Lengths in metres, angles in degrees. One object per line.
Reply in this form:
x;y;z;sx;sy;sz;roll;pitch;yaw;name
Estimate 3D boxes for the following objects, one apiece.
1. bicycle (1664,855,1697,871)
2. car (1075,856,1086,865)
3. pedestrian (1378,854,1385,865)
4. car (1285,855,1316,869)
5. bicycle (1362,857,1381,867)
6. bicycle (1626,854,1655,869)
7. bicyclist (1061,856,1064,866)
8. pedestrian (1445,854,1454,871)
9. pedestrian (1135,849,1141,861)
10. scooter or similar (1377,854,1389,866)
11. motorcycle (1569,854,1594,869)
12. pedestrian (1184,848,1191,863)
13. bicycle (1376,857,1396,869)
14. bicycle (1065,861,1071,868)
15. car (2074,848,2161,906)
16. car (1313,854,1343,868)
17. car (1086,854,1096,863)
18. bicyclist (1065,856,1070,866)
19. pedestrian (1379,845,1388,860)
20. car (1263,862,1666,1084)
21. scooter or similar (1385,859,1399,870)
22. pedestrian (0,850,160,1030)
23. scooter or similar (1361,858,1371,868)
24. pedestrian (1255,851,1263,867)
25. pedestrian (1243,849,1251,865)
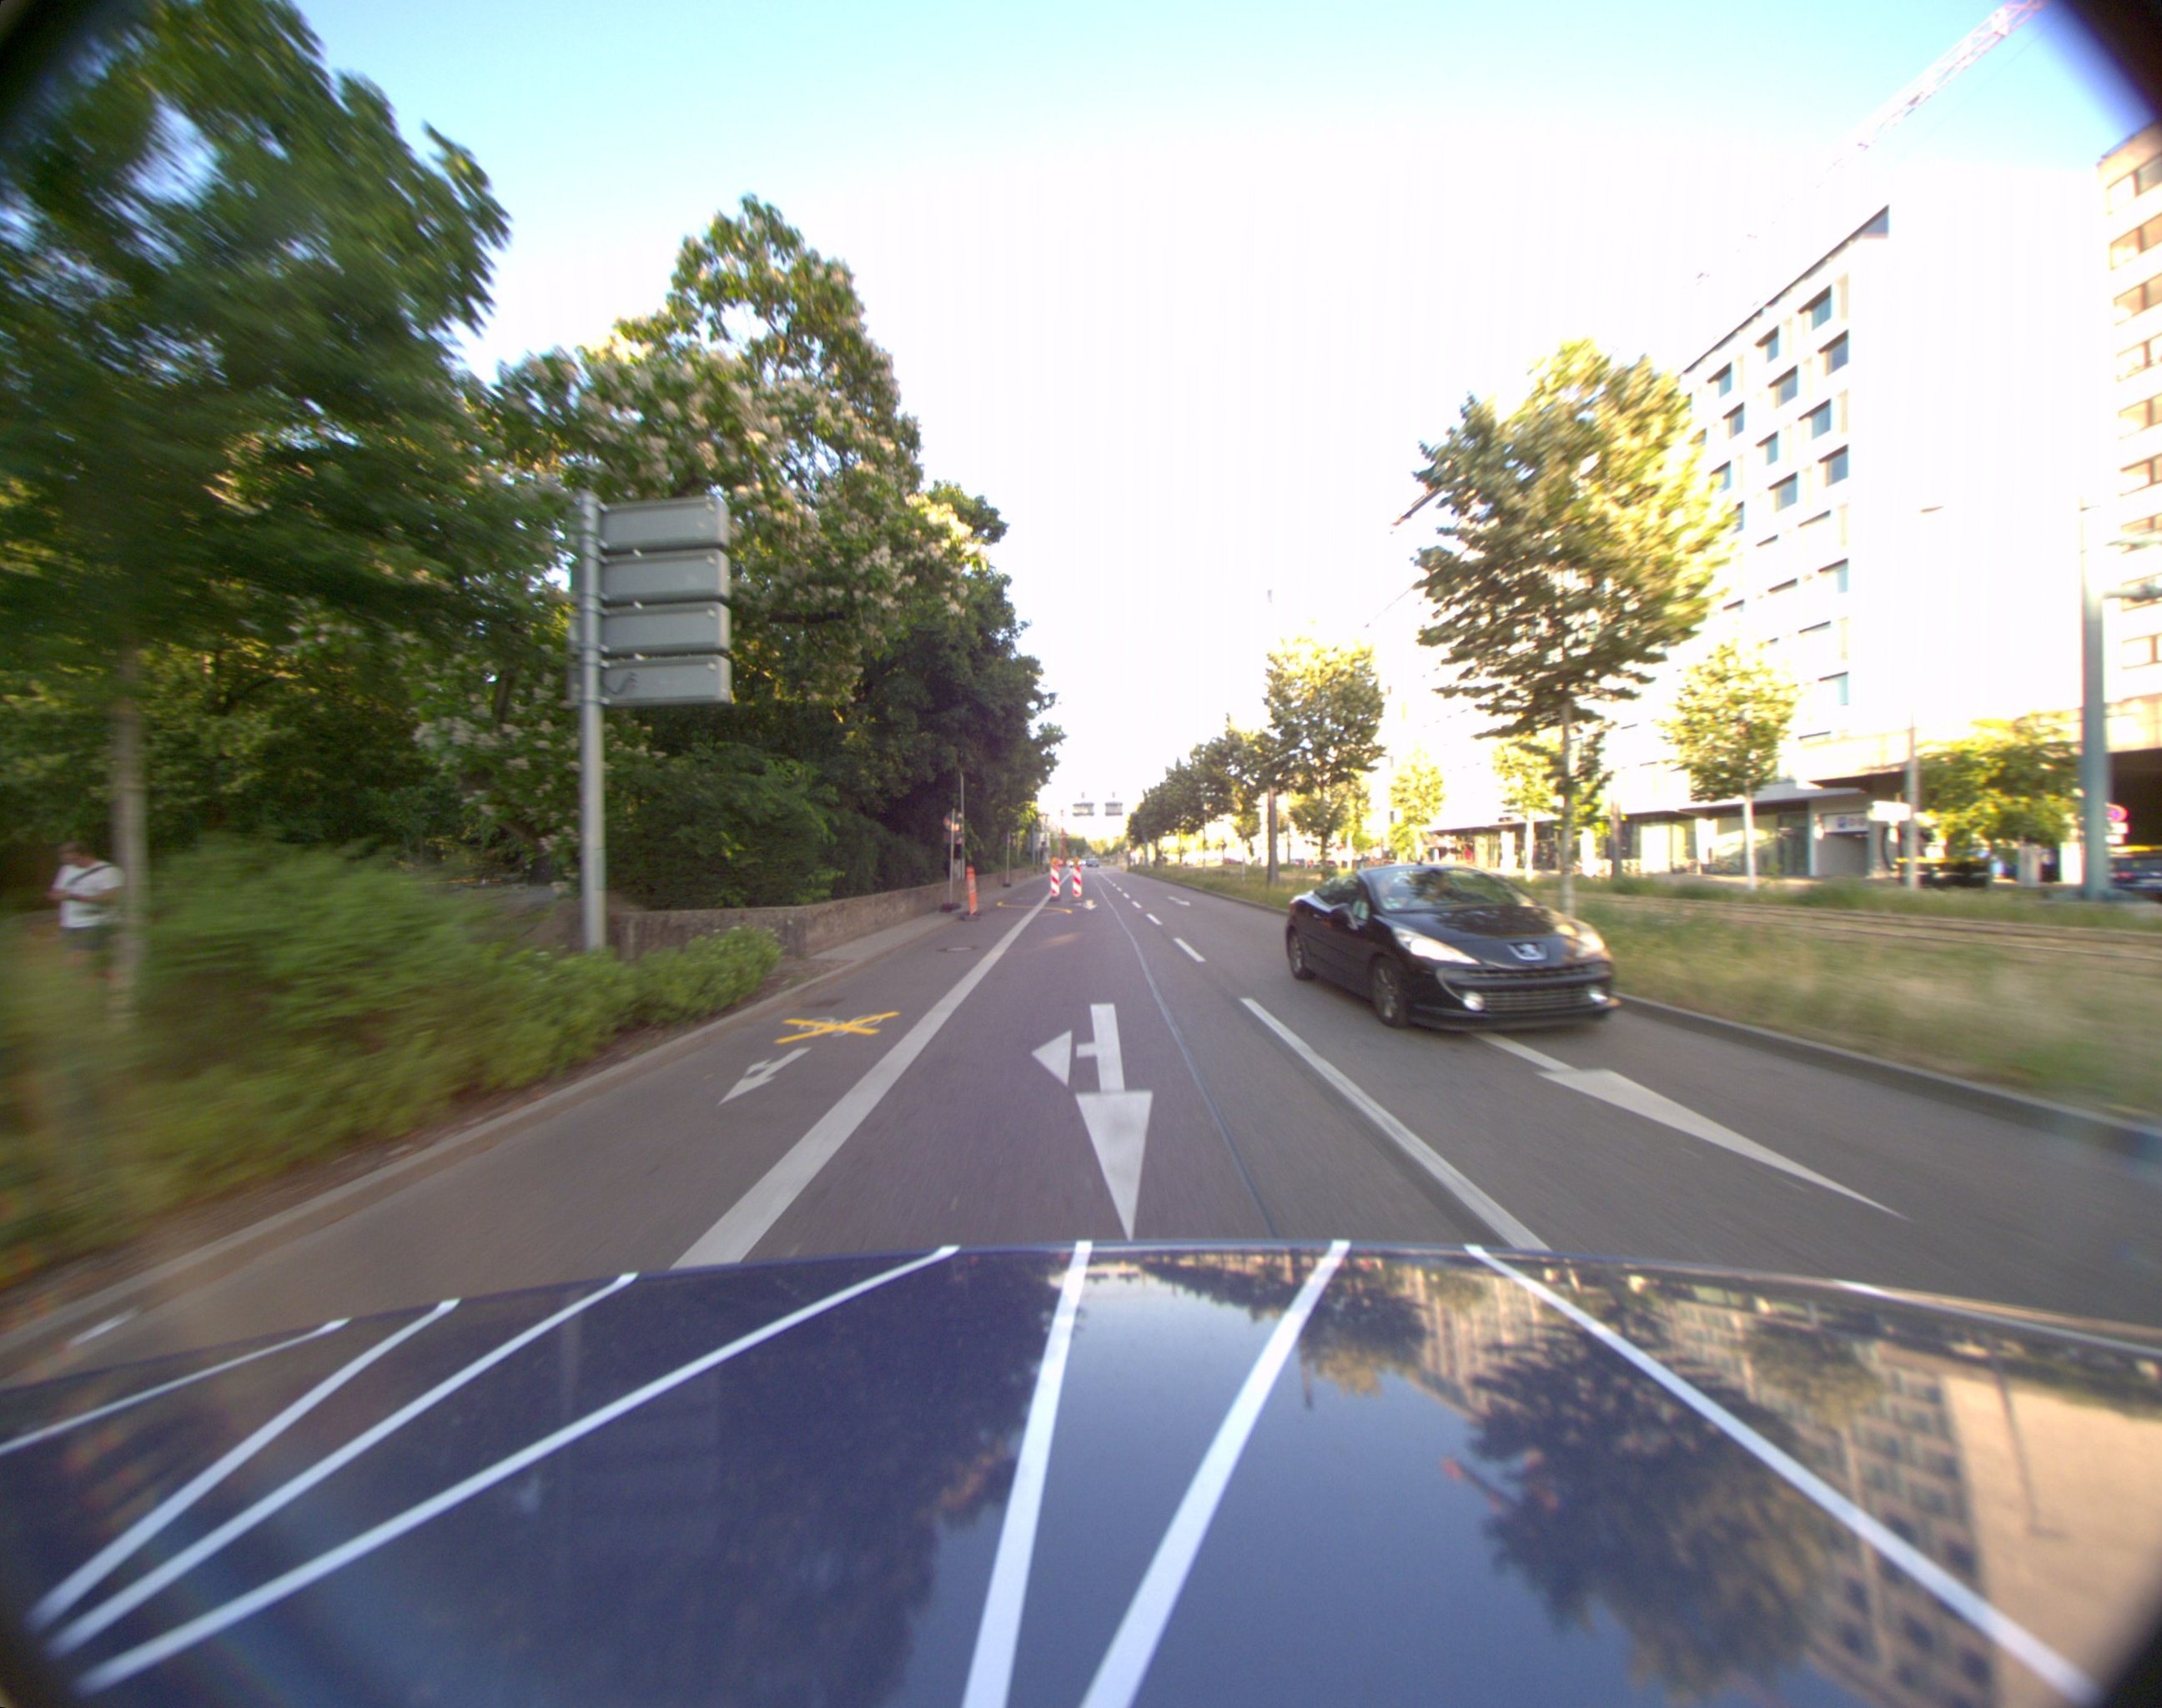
38.346;0.566;48.588;1.792;1.014;0.421;-1;0;-3;bicycle
-0.016;1.198;136.519;1.833;1.588;4.260;-1;0;2;car
39.874;0.743;100.746;0.605;1.454;0.773;-1;0;0;pedestrian
23.977;0.842;83.267;2.020;1.432;4.801;1;0;0;car
31.925;0.860;83.630;1.914;1.053;0.443;-2;0;-3;bicycle
38.725;0.526;52.578;1.792;1.014;0.421;-1;0;-3;bicycle
-3.253;1.269;133.865;0.509;1.691;0.768;2;2;4;bicyclist
35.047;0.797;72.242;0.498;1.590;0.603;-3;0;2;pedestrian
7.283;0.152;96.648;0.579;1.495;0.619;3;1;11;pedestrian
32.127;0.623;80.861;1.184;1.210;0.338;-1;0;1;scooter or similar
38.909;0.581;59.073;1.899;1.165;0.515;-2;1;-15;motorcycle
13.728;0.189;97.924;0.708;1.825;0.763;-3;0;-1;pedestrian
32.184;0.941;80.304;1.914;1.192;0.443;-2;0;-3;bicycle
-2.289;1.826;134.199;0.721;1.045;2.044;-2;1;5;bicycle
32.048;0.646;23.156;4.294;1.581;2.004;-1;0;-39;car
26.945;0.723;83.066;1.890;1.431;4.223;-1;0;-1;car
1.828;0.745;135.371;1.702;1.588;4.260;-1;0;2;car
-2.322;1.168;134.036;0.705;1.690;0.768;-2;-2;4;bicyclist
35.292;-0.176;88.596;0.682;1.594;0.707;-3;0;-42;pedestrian
3.207;0.857;7.332;1.723;1.441;3.899;-1;1;-4;car
31.808;1.067;77.749;1.184;1.051;0.338;-5;-1;1;scooter or similar
-10.806;0.882;8.175;0.795;1.821;0.772;-1;1;-13;pedestrian
32.339;0.990;86.252;0.974;1.079;0.338;-3;3;1;scooter or similar
22.459;0.627;96.032;0.833;2.002;0.854;-1;1;4;pedestrian
20.725;0.405;94.960;0.680;1.912;0.709;-5;0;2;pedestrian
